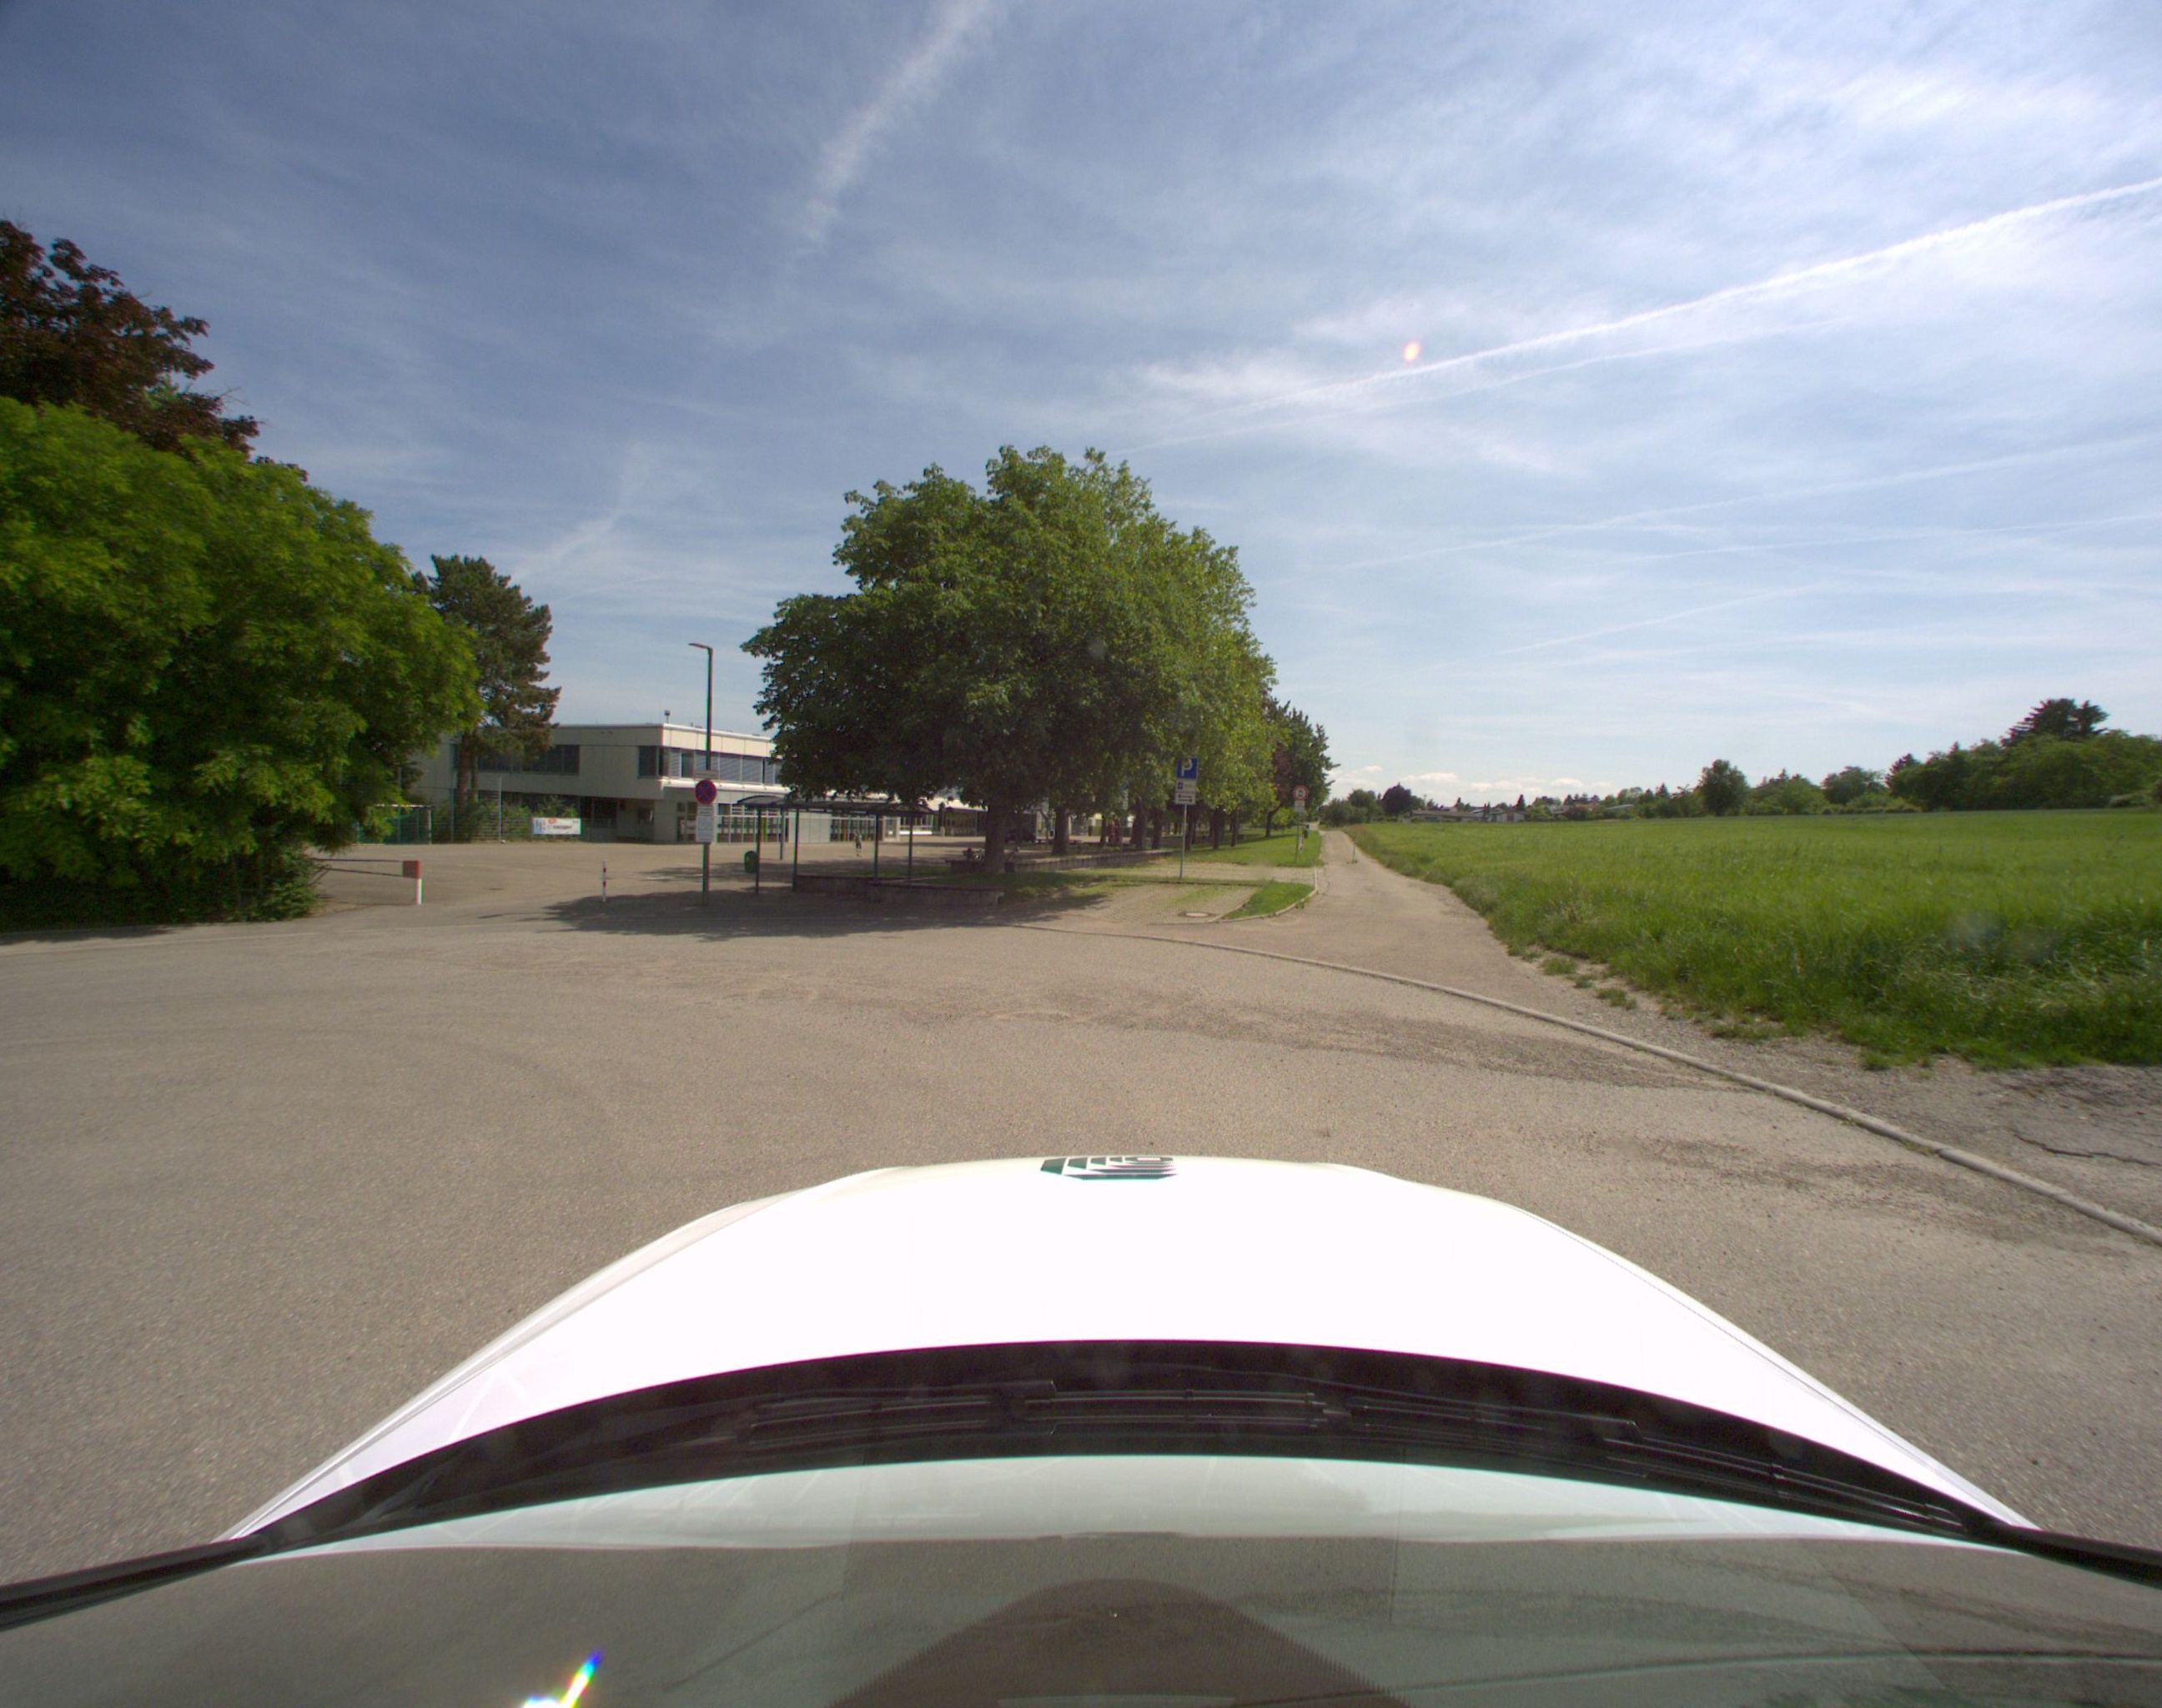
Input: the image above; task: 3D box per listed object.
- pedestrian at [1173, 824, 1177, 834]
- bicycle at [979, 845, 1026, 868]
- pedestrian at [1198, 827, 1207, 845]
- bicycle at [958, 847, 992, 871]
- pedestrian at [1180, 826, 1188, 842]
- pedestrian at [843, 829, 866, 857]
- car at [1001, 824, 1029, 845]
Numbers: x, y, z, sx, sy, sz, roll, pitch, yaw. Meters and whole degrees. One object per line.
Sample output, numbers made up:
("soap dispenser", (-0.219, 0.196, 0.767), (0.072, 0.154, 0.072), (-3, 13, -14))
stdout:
("pedestrian", (18.102, -4.772, 156.687), (0.717, 2.013, 0.686), (-2, 1, 18))
("bicycle", (-3.651, 0.126, 37.886), (2.051, 1.039, 0.573), (0, 1, 7))
("pedestrian", (13.752, -2.090, 92.222), (0.684, 2.013, 0.799), (1, 1, -18))
("bicycle", (-4.662, 0.206, 35.952), (0.589, 1.039, 1.903), (1, 1, 22))
("pedestrian", (12.756, -2.505, 100.955), (0.830, 2.013, 0.692), (2, 1, -1))
("pedestrian", (-12.110, -0.583, 43.587), (0.922, 1.423, 1.059), (1, 1, -31))
("car", (-6.174, -1.821, 76.525), (1.679, 1.834, 3.423), (1, 1, 13))
